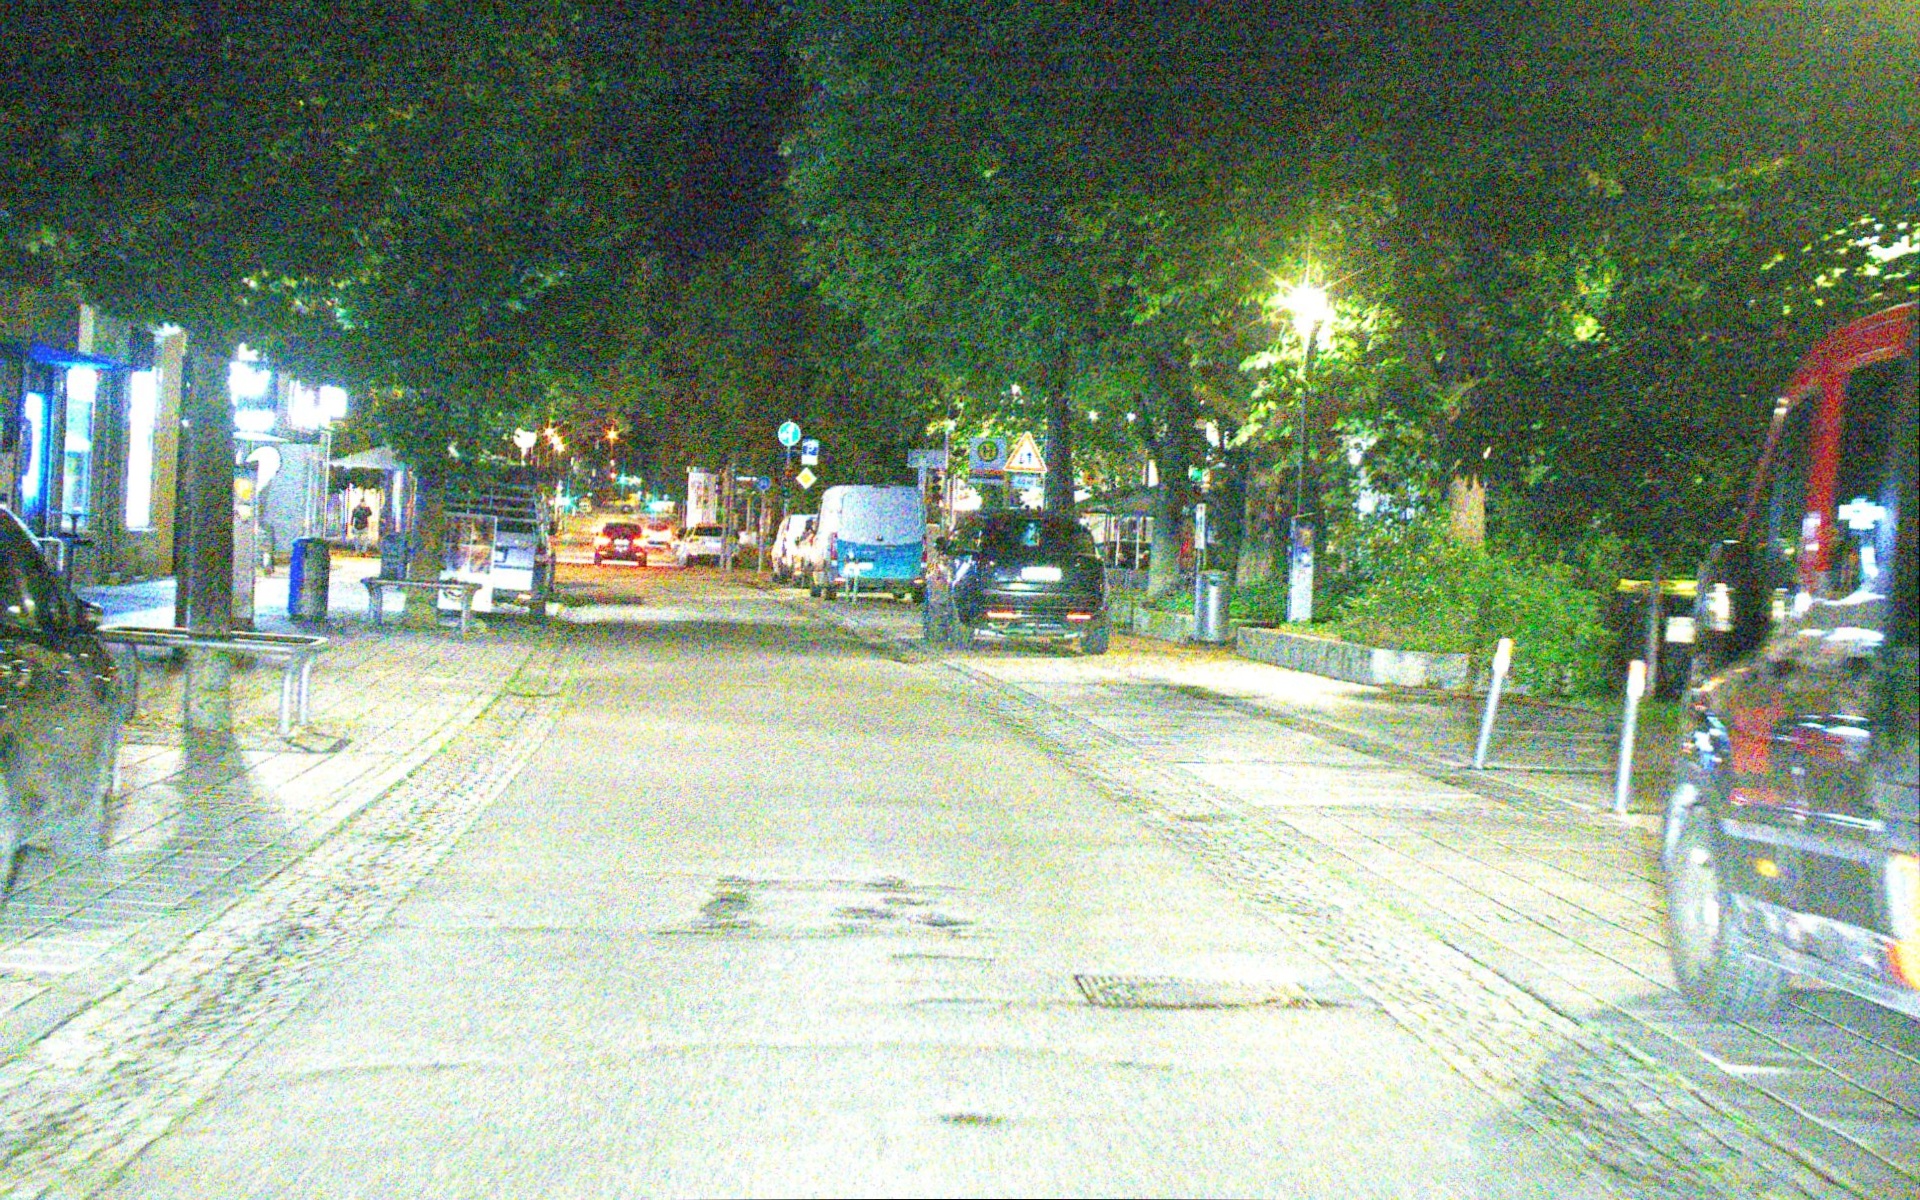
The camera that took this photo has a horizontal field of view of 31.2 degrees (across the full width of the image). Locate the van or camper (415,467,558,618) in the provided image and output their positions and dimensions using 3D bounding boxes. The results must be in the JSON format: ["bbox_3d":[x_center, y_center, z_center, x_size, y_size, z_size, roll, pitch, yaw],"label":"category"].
[{"bbox_3d":[-6.921,-0.861,50.570,1.866,2.004,4.263,4,1,-7],"label":"van or camper"}]

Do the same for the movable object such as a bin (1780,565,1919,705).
[{"bbox_3d":[9.438,0.359,36.116,1.261,1.415,1.118,2,1,-5],"label":"movable object such as a bin"}]

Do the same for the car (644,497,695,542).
[{"bbox_3d":[-12.532,-3.456,148.182,1.993,1.817,4.001,3,1,-7],"label":"car"}]

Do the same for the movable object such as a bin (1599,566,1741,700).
[{"bbox_3d":[7.408,0.339,35.925,1.104,1.302,1.010,4,0,-7],"label":"movable object such as a bin"}]

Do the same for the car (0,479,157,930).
[{"bbox_3d":[-4.193,0.279,12.935,1.673,1.538,4.231,4,1,-6],"label":"car"}]

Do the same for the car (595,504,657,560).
[{"bbox_3d":[-11.674,-2.377,119.999,1.993,1.817,4.001,3,1,-7],"label":"car"}]

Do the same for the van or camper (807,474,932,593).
[{"bbox_3d":[-1.877,-1.361,69.905,2.108,2.309,4.263,1,1,-7],"label":"van or camper"}]

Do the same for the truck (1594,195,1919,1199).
[{"bbox_3d":[3.360,0.239,8.592,2.336,2.304,5.781,2,1,-1],"label":"truck"}]

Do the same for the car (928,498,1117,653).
[{"bbox_3d":[0.737,-0.345,43.917,1.814,1.822,4.348,2,1,-6],"label":"car"}]

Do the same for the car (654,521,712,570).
[{"bbox_3d":[-9.362,-1.845,116.100,1.839,1.537,3.846,2,1,-5],"label":"car"}]

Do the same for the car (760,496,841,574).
[{"bbox_3d":[-4.129,-1.686,88.643,1.839,1.894,3.846,2,1,-5],"label":"car"}]

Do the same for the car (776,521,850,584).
[{"bbox_3d":[-3.551,-1.167,82.648,1.531,1.413,3.846,2,1,-5],"label":"car"}]
